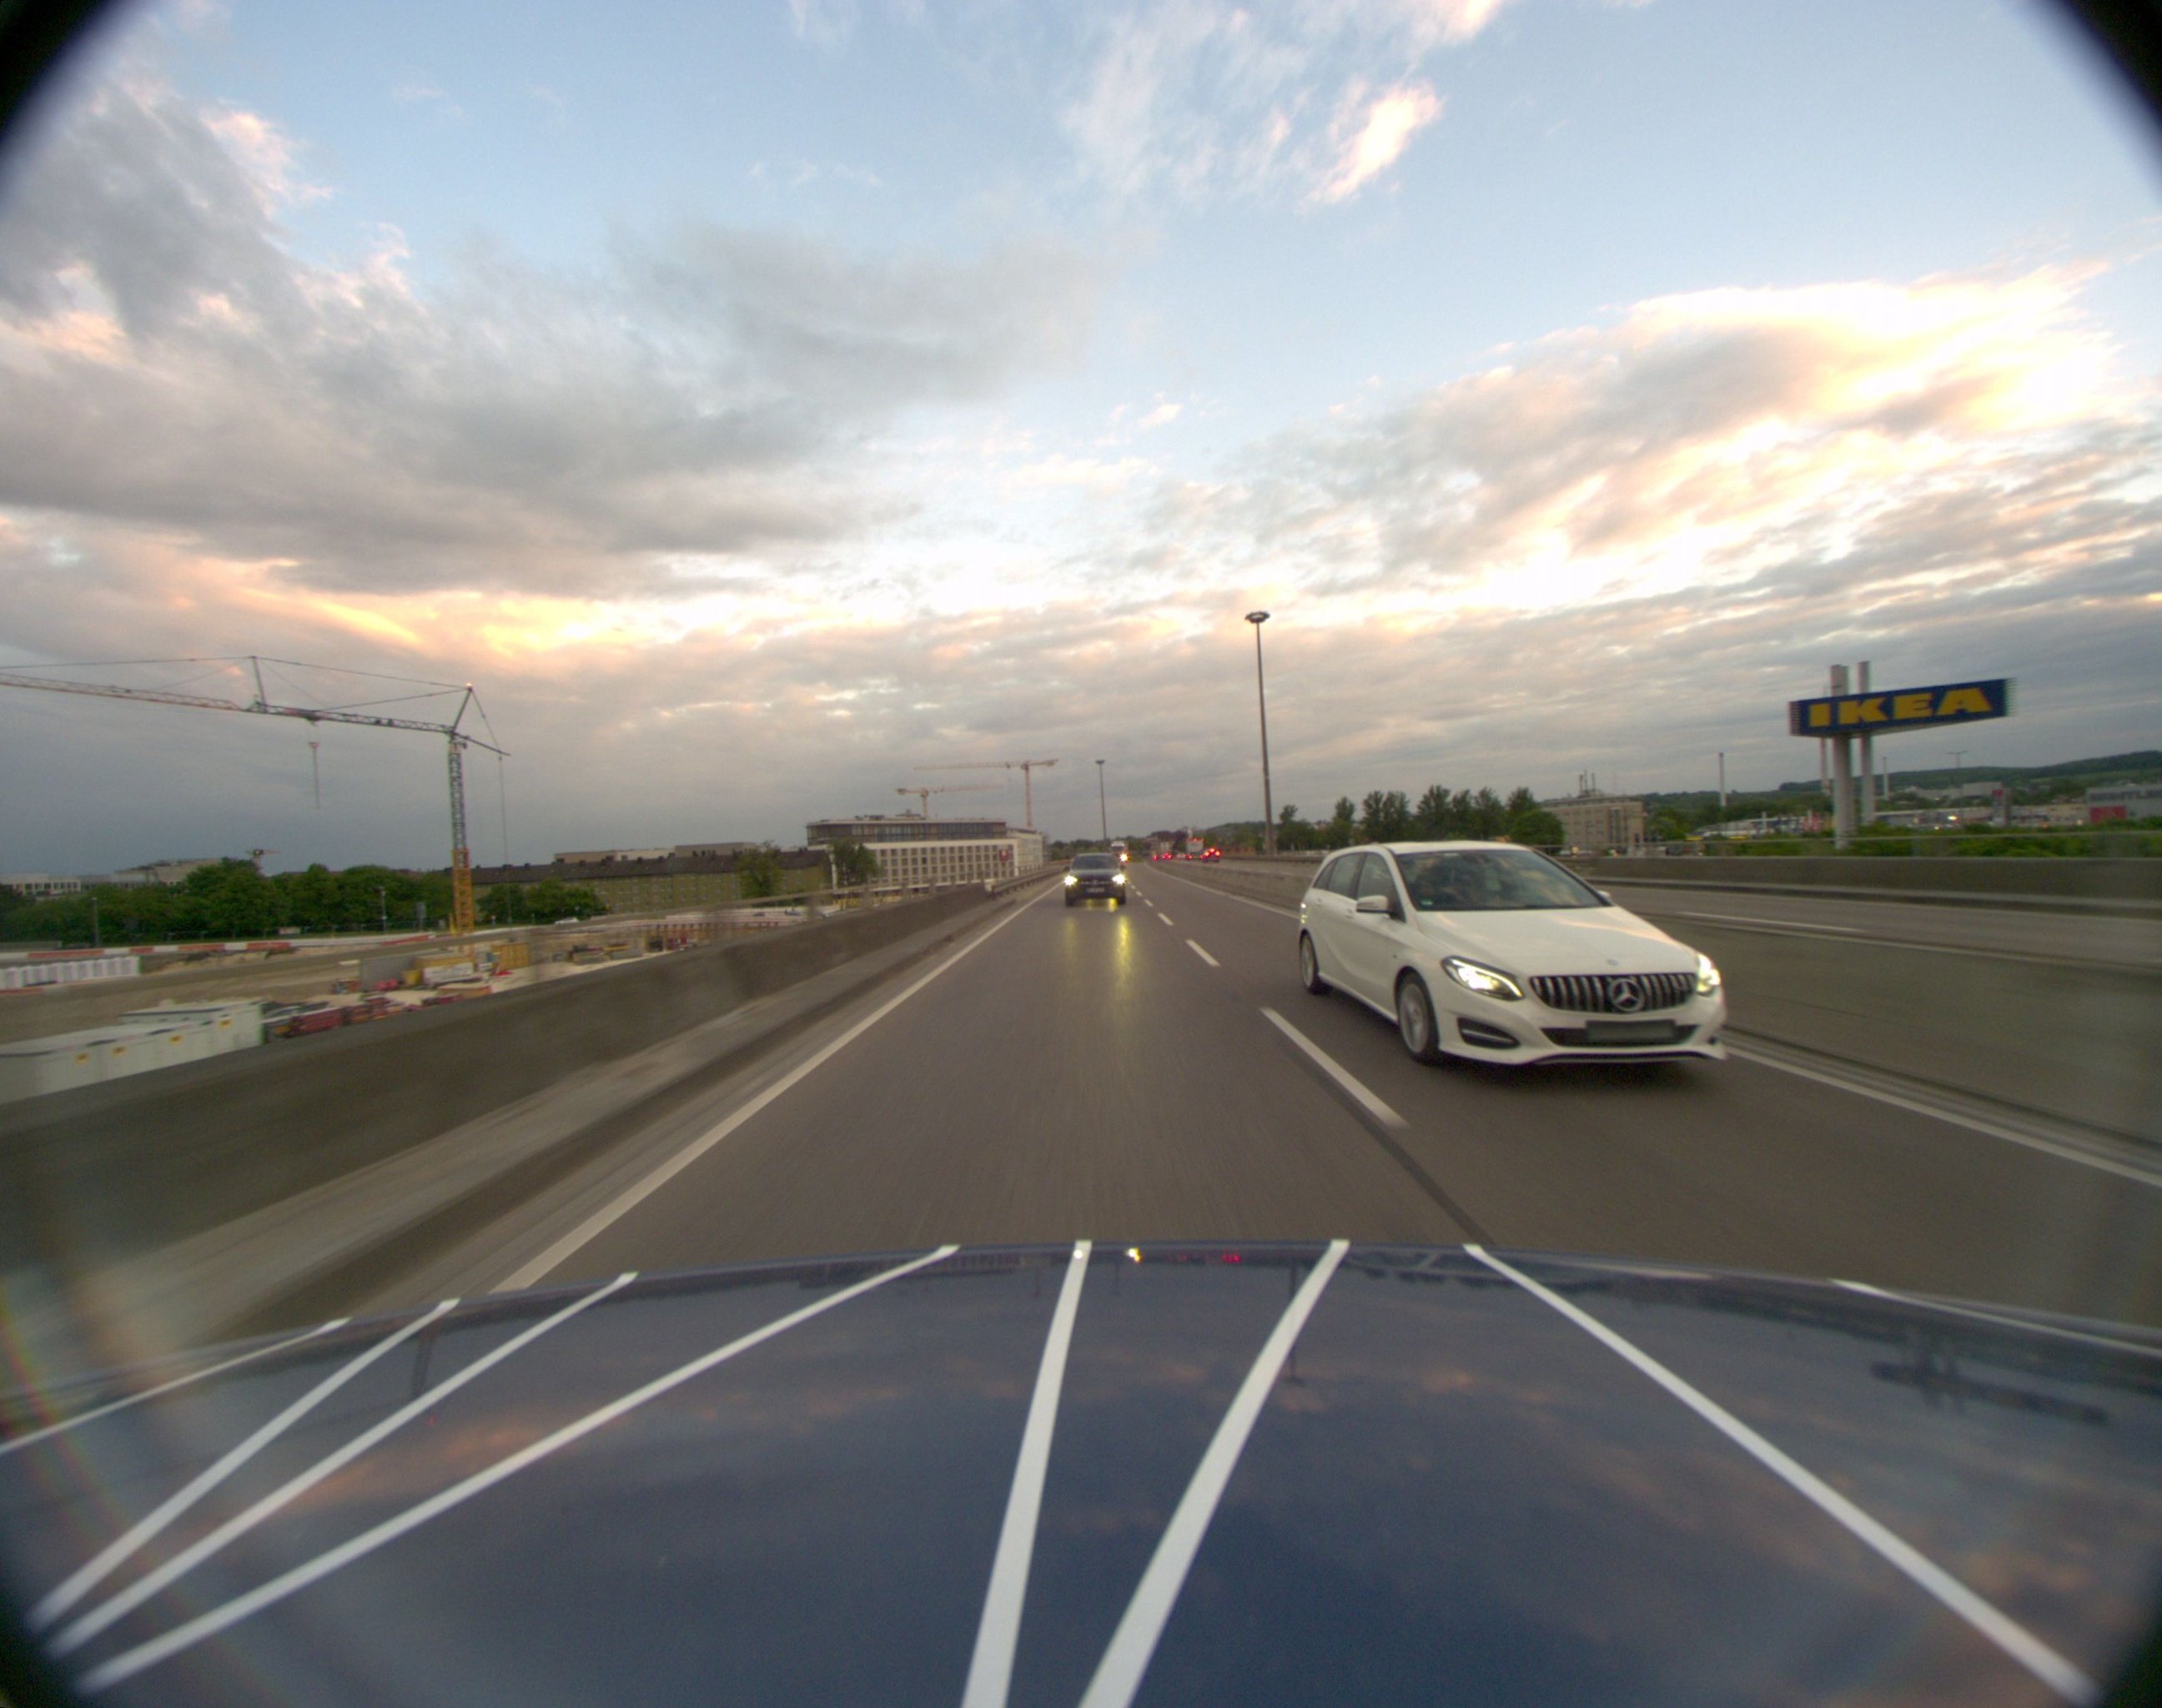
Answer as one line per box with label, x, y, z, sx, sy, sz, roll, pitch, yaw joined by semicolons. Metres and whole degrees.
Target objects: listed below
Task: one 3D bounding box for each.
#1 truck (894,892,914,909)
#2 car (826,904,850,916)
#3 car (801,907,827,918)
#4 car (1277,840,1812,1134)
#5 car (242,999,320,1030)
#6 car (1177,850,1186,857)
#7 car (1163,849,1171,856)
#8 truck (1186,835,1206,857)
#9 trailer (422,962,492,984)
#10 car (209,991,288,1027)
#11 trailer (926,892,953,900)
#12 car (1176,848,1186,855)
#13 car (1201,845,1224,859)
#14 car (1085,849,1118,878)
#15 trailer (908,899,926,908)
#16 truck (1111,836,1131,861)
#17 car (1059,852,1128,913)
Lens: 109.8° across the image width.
truck;-35.906;9.419;154.607;2.163;2.930;7.337;-5;-1;-1
car;-44.639;10.305;139.688;3.788;1.728;1.647;-9;0;18
car;-50.189;10.977;142.800;4.094;1.710;1.805;-2;3;14
car;3.108;0.749;6.489;1.695;1.528;4.784;-2;-1;1
car;-62.622;12.546;59.524;1.526;1.433;3.802;-9;0;30
car;26.799;-0.105;203.074;1.905;1.889;5.460;-2;0;3
car;19.571;-0.291;172.542;1.632;1.432;3.837;-2;0;3
truck;17.786;-1.219;117.663;2.540;3.278;7.448;-2;1;5
trailer;-54.283;10.347;66.157;1.780;1.234;4.259;-4;0;30
car;-68.996;12.830;63.023;1.682;1.910;4.005;-9;0;31
trailer;-31.232;9.219;167.644;5.875;1.340;2.024;-2;1;-14
car;22.011;-0.567;167.889;1.835;1.494;4.818;-1;0;4
car;15.533;-0.279;89.849;1.981;1.596;4.441;-2;1;2
car;1.321;0.577;47.289;1.891;1.641;4.346;-2;-1;3
trailer;-35.060;10.646;162.305;1.998;1.339;5.875;-8;-1;5
truck;7.375;-1.021;139.897;3.164;4.369;8.796;-2;1;6
car;0.446;0.767;22.638;1.823;1.602;4.213;-1;0;3
